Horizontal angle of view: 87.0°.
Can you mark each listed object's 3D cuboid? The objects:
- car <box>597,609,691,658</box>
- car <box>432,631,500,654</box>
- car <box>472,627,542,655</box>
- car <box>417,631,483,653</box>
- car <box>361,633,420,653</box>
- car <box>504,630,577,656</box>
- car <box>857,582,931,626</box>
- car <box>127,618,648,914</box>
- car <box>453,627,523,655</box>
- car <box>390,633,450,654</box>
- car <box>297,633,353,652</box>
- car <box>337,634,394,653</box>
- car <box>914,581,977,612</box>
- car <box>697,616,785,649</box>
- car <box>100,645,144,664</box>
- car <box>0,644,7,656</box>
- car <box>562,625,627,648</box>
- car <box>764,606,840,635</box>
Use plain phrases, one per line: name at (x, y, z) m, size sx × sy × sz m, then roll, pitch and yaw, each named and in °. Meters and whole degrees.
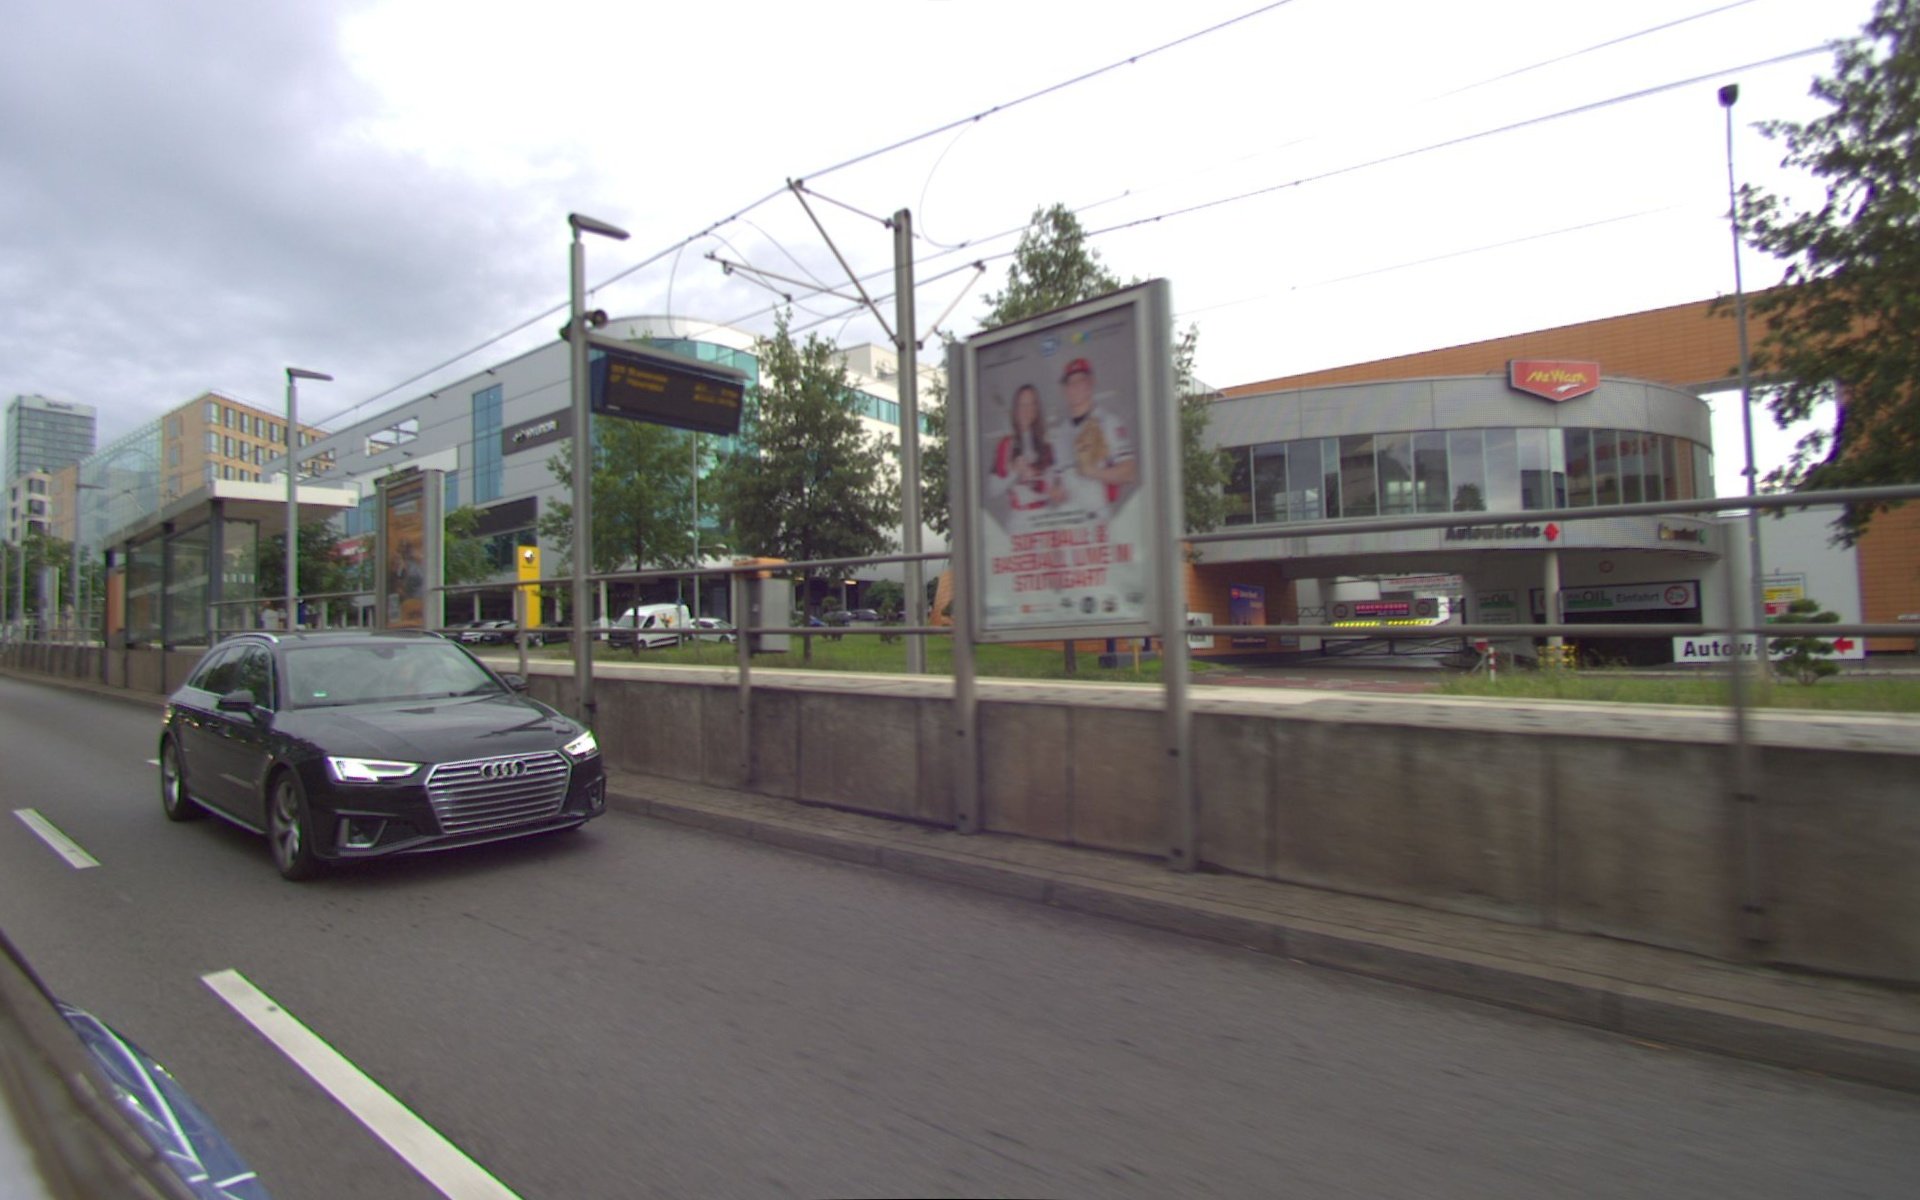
car at (-18.584, 1.935, 59.817) m, size 2.265 × 2.649 × 5.442 m, roll -1°, pitch 0°, yaw 23°
car at (-35.124, 2.983, 72.028) m, size 1.819 × 1.502 × 3.954 m, roll -2°, pitch -2°, yaw 34°
car at (-30.667, 2.767, 68.595) m, size 1.917 × 1.674 × 3.954 m, roll -2°, pitch 0°, yaw 34°
car at (-37.444, 3.054, 74.331) m, size 1.819 × 1.502 × 3.954 m, roll -2°, pitch -2°, yaw 34°
car at (-45.595, 3.442, 81.086) m, size 1.812 × 1.502 × 3.814 m, roll -2°, pitch -1°, yaw 22°
car at (-26.908, 2.726, 64.969) m, size 1.891 × 1.519 × 3.956 m, roll -2°, pitch 0°, yaw 32°
car at (-5.122, 0.288, 79.355) m, size 2.993 × 3.296 × 5.420 m, roll -2°, pitch 0°, yaw 34°
car at (-4.369, 0.917, 7.303) m, size 4.825 × 1.445 × 1.772 m, roll -3°, pitch -2°, yaw 41°
car at (-32.735, 2.819, 70.301) m, size 1.917 × 1.674 × 3.955 m, roll -2°, pitch 0°, yaw 34°
car at (-41.579, 3.341, 78.014) m, size 1.812 × 1.502 × 3.814 m, roll -2°, pitch -1°, yaw 22°
car at (-56.197, 3.762, 89.622) m, size 1.812 × 1.502 × 3.814 m, roll -2°, pitch -1°, yaw 22°
car at (-49.632, 3.634, 84.573) m, size 1.812 × 1.502 × 3.814 m, roll -2°, pitch -1°, yaw 22°
car at (-1.210, -0.316, 87.097) m, size 2.741 × 2.513 × 5.421 m, roll -2°, pitch 0°, yaw 34°
car at (-13.976, 2.055, 64.892) m, size 2.273 × 1.941 × 5.421 m, roll -2°, pitch 0°, yaw 34°
car at (-68.393, 4.424, 82.604) m, size 4.871 × 1.399 × 1.973 m, roll -2°, pitch 0°, yaw 41°
car at (-118.948, 6.158, 124.538) m, size 4.871 × 1.447 × 1.973 m, roll -2°, pitch 0°, yaw 41°
car at (-25.687, 2.563, 71.131) m, size 3.946 × 1.480 × 1.770 m, roll -1°, pitch -1°, yaw 2°
car at (-11.377, 1.465, 73.239) m, size 2.273 × 1.941 × 5.421 m, roll -2°, pitch 0°, yaw 34°
